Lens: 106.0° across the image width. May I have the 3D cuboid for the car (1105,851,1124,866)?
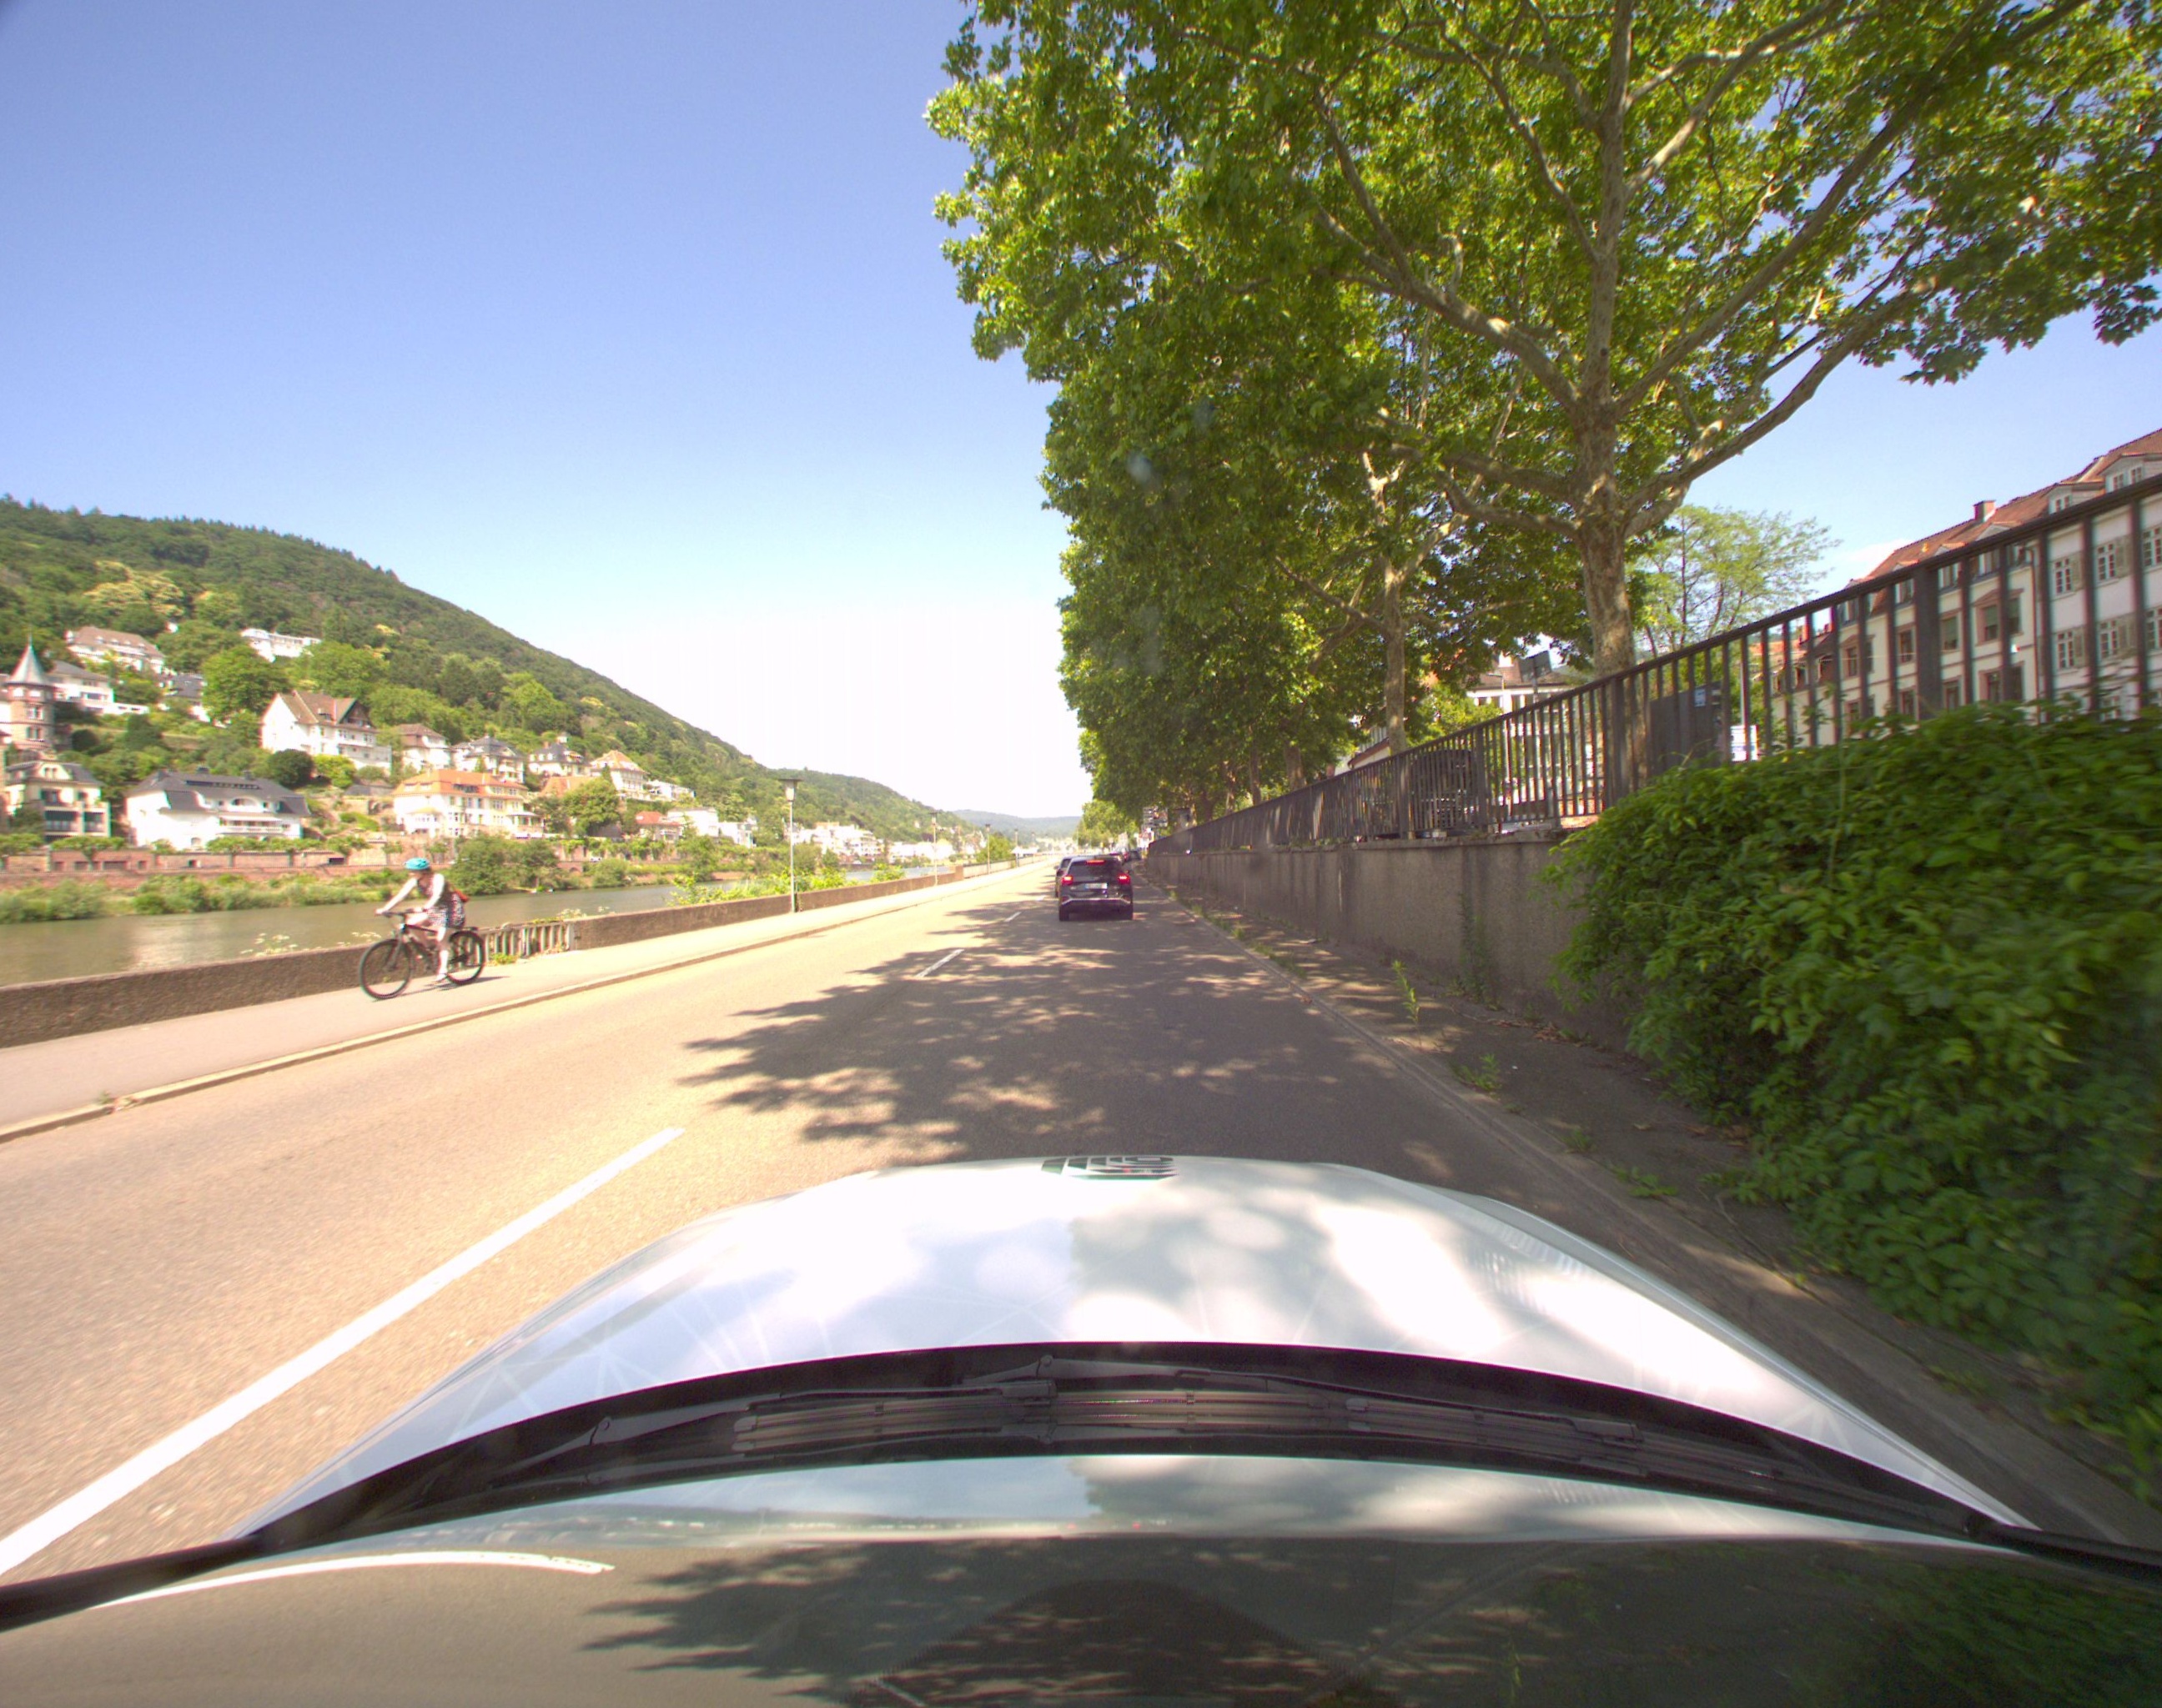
[{"bbox_3d":[3.418,0.451,83.852,1.822,1.444,4.001,-1,0,1],"label":"car"}]

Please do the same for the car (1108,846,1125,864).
[{"bbox_3d":[4.542,0.177,103.664,1.986,2.169,4.001,-2,0,1],"label":"car"}]

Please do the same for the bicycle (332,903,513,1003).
[{"bbox_3d":[-8.225,1.190,10.309,0.630,1.012,1.986,-2,0,1],"label":"bicycle"}]

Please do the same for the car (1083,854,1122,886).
[{"bbox_3d":[1.055,0.744,40.268,1.822,1.486,4.001,-1,0,1],"label":"car"}]

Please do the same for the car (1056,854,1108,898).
[{"bbox_3d":[0.070,0.792,31.302,1.822,1.511,4.001,-1,0,1],"label":"car"}]

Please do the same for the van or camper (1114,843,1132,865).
[{"bbox_3d":[5.812,0.033,112.586,2.300,2.847,4.249,-2,0,3],"label":"van or camper"}]

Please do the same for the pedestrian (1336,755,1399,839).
[{"bbox_3d":[5.083,-0.990,14.514,0.678,1.365,0.990,-5,0,1],"label":"pedestrian"}]

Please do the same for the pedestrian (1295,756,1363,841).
[{"bbox_3d":[5.000,-1.092,16.469,0.934,1.579,1.027,-5,0,-1],"label":"pedestrian"}]

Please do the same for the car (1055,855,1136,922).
[{"bbox_3d":[0.366,0.786,20.590,1.822,1.486,4.001,-1,0,1],"label":"car"}]

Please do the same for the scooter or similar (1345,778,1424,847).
[{"bbox_3d":[5.069,-0.669,13.686,0.852,1.026,1.107,-5,0,1],"label":"scooter or similar"}]

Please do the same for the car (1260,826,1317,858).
[{"bbox_3d":[10.508,-0.589,41.045,1.757,1.469,4.025,-1,0,30],"label":"car"}]

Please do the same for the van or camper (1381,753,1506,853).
[{"bbox_3d":[10.288,-1.186,22.653,2.315,2.184,7.402,0,-1,31],"label":"van or camper"}]

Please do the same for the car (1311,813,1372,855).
[{"bbox_3d":[10.234,-0.736,31.789,1.633,1.500,3.840,-2,-1,27],"label":"car"}]

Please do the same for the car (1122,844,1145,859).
[{"bbox_3d":[7.819,-0.342,122.528,3.088,2.013,5.825,-5,0,1],"label":"car"}]

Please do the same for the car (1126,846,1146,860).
[{"bbox_3d":[8.802,-0.214,131.049,2.652,2.013,5.825,-5,0,1],"label":"car"}]

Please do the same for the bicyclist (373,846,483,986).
[{"bbox_3d":[-8.237,0.753,10.308,0.635,1.673,0.871,-2,0,1],"label":"bicyclist"}]
